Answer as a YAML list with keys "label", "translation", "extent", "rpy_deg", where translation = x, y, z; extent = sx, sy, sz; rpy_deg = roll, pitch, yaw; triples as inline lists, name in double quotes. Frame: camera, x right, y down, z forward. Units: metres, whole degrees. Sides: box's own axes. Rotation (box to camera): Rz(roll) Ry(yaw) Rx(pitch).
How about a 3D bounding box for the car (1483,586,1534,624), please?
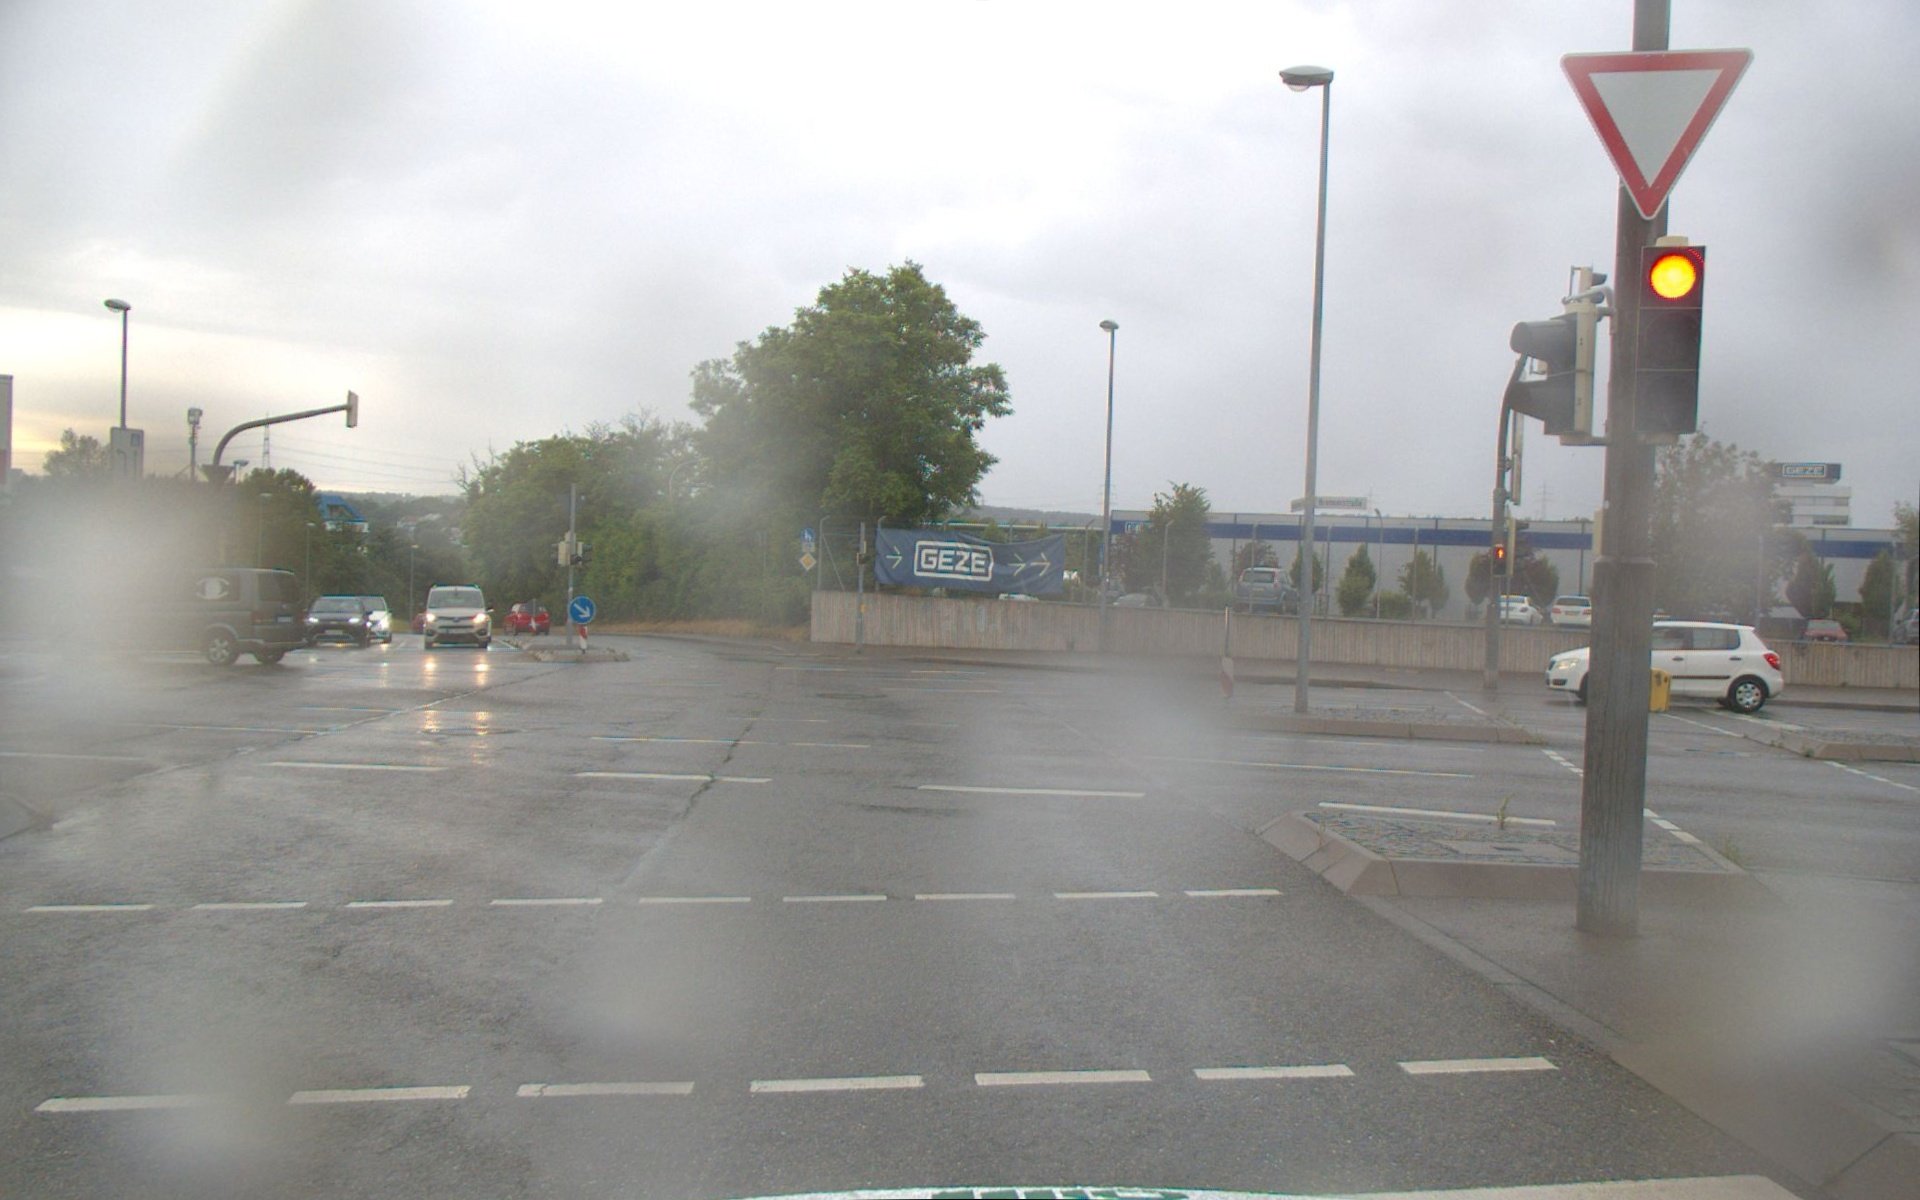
- label: "car"
  translation: [23.159, 0.212, 69.796]
  extent: [1.952, 1.504, 4.001]
  rpy_deg: [2, 1, 19]

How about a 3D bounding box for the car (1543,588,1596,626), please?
- label: "car"
  translation: [25.454, 0.283, 69.200]
  extent: [1.952, 1.504, 4.001]
  rpy_deg: [2, 1, 19]

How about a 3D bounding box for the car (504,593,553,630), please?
- label: "car"
  translation: [-19.978, 0.496, 76.493]
  extent: [1.593, 1.474, 3.780]
  rpy_deg: [2, 2, -23]

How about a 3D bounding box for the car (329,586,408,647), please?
- label: "car"
  translation: [-20.132, 0.545, 56.449]
  extent: [1.958, 1.928, 3.989]
  rpy_deg: [1, 1, -12]

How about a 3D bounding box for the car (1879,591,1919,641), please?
- label: "car"
  translation: [34.597, 0.585, 60.175]
  extent: [1.686, 1.745, 3.636]
  rpy_deg: [2, 1, 34]

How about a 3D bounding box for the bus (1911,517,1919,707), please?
- label: "bus"
  translation: [19.115, 0.120, 20.657]
  extent: [12.021, 3.379, 3.076]
  rpy_deg: [3, 1, 18]

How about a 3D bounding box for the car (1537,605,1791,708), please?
- label: "car"
  translation: [12.514, 0.975, 29.654]
  extent: [3.902, 1.624, 1.959]
  rpy_deg: [2, 1, 15]

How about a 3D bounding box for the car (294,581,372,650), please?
- label: "car"
  translation: [-18.588, 0.433, 49.167]
  extent: [1.963, 1.928, 3.979]
  rpy_deg: [2, 0, -18]

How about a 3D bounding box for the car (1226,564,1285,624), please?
- label: "car"
  translation: [10.559, -0.217, 59.032]
  extent: [1.951, 2.049, 4.004]
  rpy_deg: [1, 0, 11]

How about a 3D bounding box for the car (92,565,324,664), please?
- label: "car"
  translation: [-15.642, 0.284, 34.528]
  extent: [3.902, 1.881, 2.002]
  rpy_deg: [2, 1, 8]

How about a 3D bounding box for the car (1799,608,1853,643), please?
- label: "car"
  translation: [39.058, 1.120, 74.533]
  extent: [1.736, 1.504, 3.636]
  rpy_deg: [2, 1, 34]

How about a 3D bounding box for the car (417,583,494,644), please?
- label: "car"
  translation: [-14.756, 0.376, 48.558]
  extent: [1.960, 1.646, 3.984]
  rpy_deg: [1, 1, -15]
